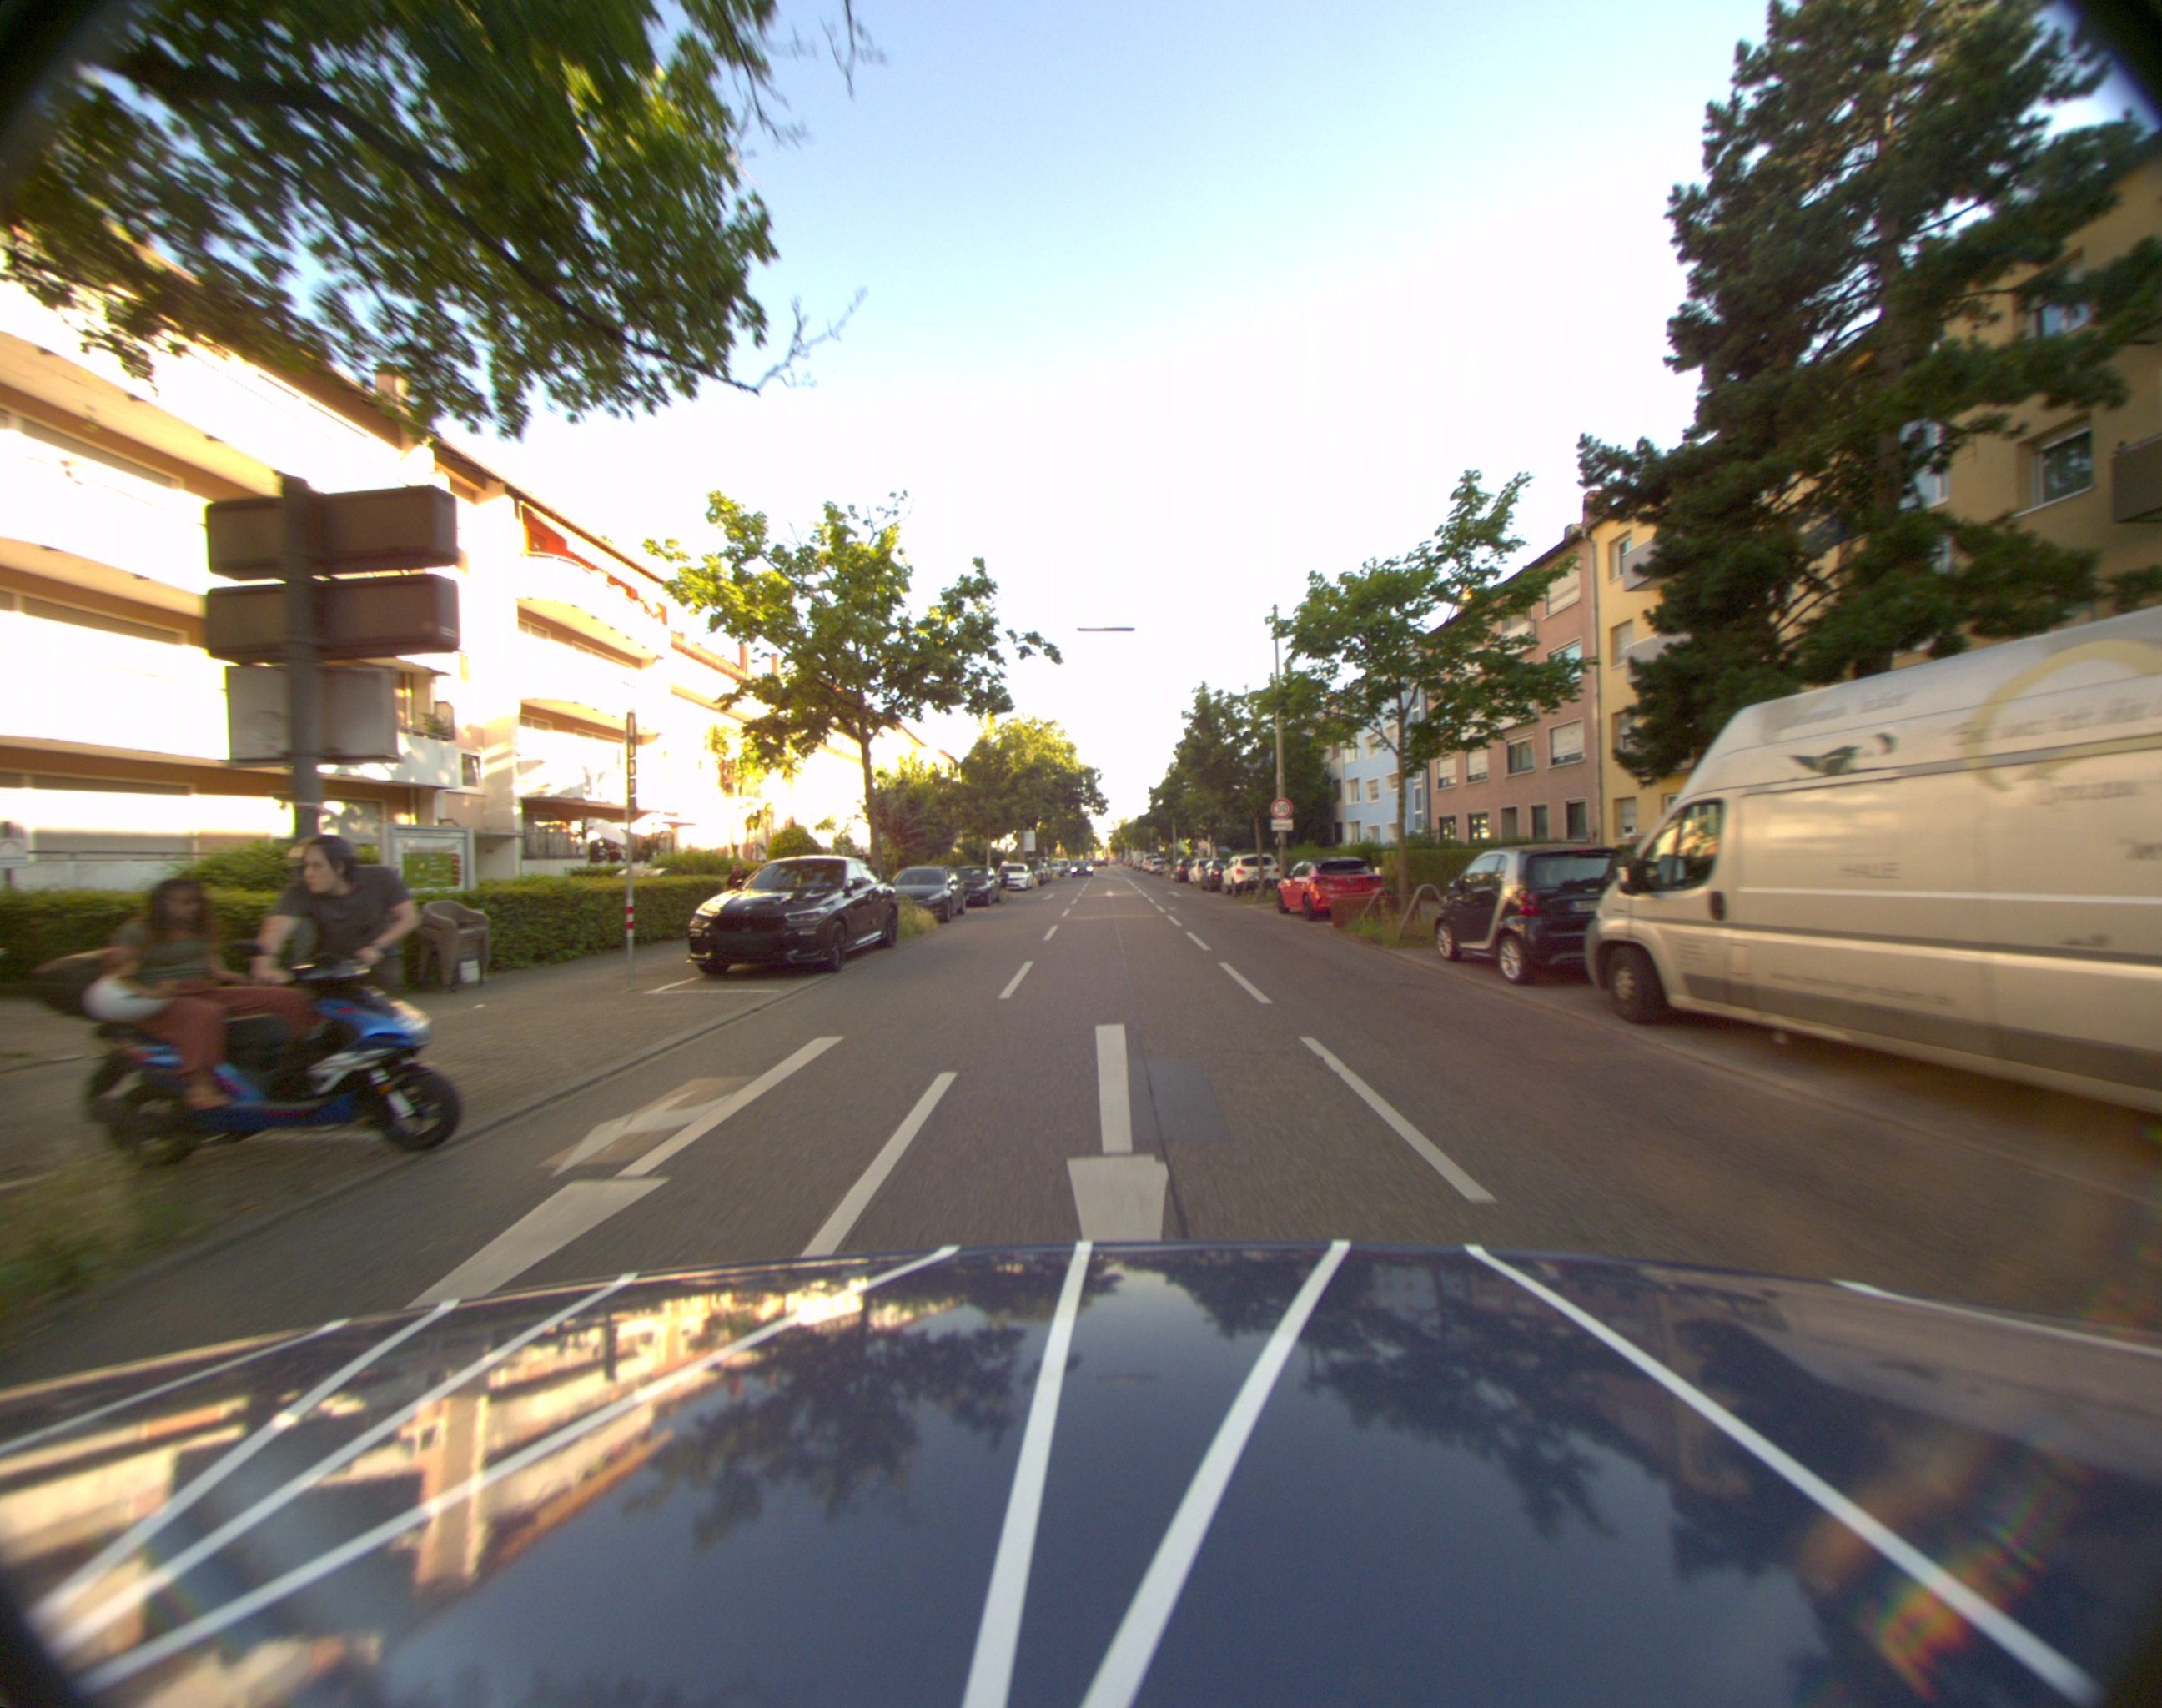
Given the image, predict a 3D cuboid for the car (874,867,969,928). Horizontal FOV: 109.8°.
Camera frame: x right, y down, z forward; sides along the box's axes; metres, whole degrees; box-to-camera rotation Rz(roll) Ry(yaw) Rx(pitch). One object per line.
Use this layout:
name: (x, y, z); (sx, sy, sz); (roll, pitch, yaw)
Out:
car: (-4.323, 1.123, 21.222); (1.721, 1.463, 4.431); (-1, 0, 0)

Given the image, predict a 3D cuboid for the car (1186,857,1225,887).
car: (6.841, 0.937, 42.031); (1.595, 1.483, 3.642); (-2, 0, 1)

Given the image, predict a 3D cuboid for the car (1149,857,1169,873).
car: (7.727, 1.091, 75.530); (1.684, 1.434, 3.882); (-3, -1, 3)

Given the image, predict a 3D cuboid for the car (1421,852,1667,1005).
car: (5.507, 0.795, 9.414); (1.407, 1.539, 2.762); (-3, 0, 3)

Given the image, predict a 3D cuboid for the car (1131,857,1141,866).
car: (10.087, 1.345, 139.586); (1.762, 1.439, 3.787); (-2, 0, 6)

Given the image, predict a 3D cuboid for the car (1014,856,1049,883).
car: (-3.167, 0.971, 49.185); (1.921, 1.672, 4.707); (0, 0, 0)

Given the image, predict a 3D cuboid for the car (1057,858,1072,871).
car: (-2.063, 1.323, 96.041); (1.798, 1.577, 4.000); (0, 0, -1)

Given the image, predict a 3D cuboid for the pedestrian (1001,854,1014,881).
pedestrian: (-4.993, 0.938, 51.724); (0.669, 1.773, 0.764); (-5, 2, 1)

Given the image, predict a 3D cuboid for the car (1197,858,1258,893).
car: (6.613, 0.930, 34.767); (1.998, 1.439, 4.458); (-1, 0, 1)

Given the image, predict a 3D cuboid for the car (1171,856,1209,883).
car: (6.729, 0.945, 47.173); (1.842, 1.508, 4.316); (-3, 0, 3)

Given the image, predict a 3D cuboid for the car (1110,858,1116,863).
car: (8.835, 1.817, 209.049); (1.726, 1.473, 3.957); (-1, 0, 1)

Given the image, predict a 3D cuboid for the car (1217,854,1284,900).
car: (6.533, 0.846, 29.669); (1.781, 1.579, 4.186); (-2, 0, 2)

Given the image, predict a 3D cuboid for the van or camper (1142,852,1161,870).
van or camper: (8.416, 0.841, 90.828); (1.809, 2.002, 4.865); (-2, 0, 1)

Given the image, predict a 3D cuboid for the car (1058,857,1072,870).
car: (-2.103, 1.222, 101.434); (1.798, 1.761, 4.000); (0, 0, -1)

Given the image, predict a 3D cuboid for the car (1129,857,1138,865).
car: (10.884, 1.395, 157.561); (1.808, 1.587, 3.957); (-2, 0, 3)

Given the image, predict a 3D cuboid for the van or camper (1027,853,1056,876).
van or camper: (-3.269, 0.911, 63.842); (1.998, 1.831, 5.261); (-2, -1, 2)

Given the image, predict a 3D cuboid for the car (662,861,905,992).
car: (-4.445, 0.970, 12.347); (1.952, 1.645, 4.796); (-1, 0, 1)

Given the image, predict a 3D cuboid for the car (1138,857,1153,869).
car: (8.421, 1.170, 99.541); (1.808, 1.489, 3.957); (-2, 0, 3)

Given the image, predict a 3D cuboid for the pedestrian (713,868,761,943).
pedestrian: (-7.596, 1.126, 16.784); (0.748, 1.606, 0.580); (-1, 0, 0)

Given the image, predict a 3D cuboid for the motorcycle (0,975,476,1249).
motorcycle: (-4.549, 1.287, 4.014); (1.932, 1.064, 0.819); (-2, 0, -10)

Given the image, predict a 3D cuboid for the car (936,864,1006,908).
car: (-3.947, 1.123, 28.020); (1.774, 1.440, 4.485); (-1, 0, 2)

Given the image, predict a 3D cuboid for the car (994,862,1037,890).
car: (-3.490, 1.168, 41.217); (1.766, 1.394, 4.334); (-1, 0, 2)

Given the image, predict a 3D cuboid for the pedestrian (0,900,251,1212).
pedestrian: (-4.934, 0.978, 3.964); (0.439, 1.421, 0.703); (-2, 0, -10)

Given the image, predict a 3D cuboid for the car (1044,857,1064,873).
car: (-2.556, 1.075, 72.370); (1.738, 1.435, 4.305); (-1, -1, 0)

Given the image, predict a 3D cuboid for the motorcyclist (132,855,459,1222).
motorcyclist: (-4.309, 0.902, 4.294); (0.738, 1.767, 1.087); (-2, 0, -10)

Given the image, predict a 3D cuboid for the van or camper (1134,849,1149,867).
van or camper: (8.996, 0.608, 113.432); (1.917, 2.528, 5.335); (-2, 0, 2)

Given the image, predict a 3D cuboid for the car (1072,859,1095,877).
car: (0.254, 1.281, 68.962); (1.998, 1.525, 4.000); (-2, 0, 0)

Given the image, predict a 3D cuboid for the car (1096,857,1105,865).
car: (3.927, 1.447, 151.129); (1.699, 1.570, 3.831); (-2, 0, 0)

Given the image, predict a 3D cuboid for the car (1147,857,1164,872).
car: (7.863, 1.117, 80.583); (1.577, 1.460, 3.491); (-3, -1, 3)

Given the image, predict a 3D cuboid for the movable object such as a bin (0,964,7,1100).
movable object such as a bin: (-8.654, 1.382, 5.686); (0.495, 1.053, 0.548); (-1, 0, 14)

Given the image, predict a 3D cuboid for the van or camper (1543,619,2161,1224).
van or camper: (5.706, 0.255, 4.533); (2.041, 2.648, 6.015); (-4, 0, -1)

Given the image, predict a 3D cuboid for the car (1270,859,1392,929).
car: (5.945, 0.889, 18.546); (1.721, 1.443, 3.924); (-2, 0, 2)

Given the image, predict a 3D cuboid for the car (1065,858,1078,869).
car: (-1.416, 1.401, 110.049); (1.798, 1.558, 3.672); (0, 0, -1)
